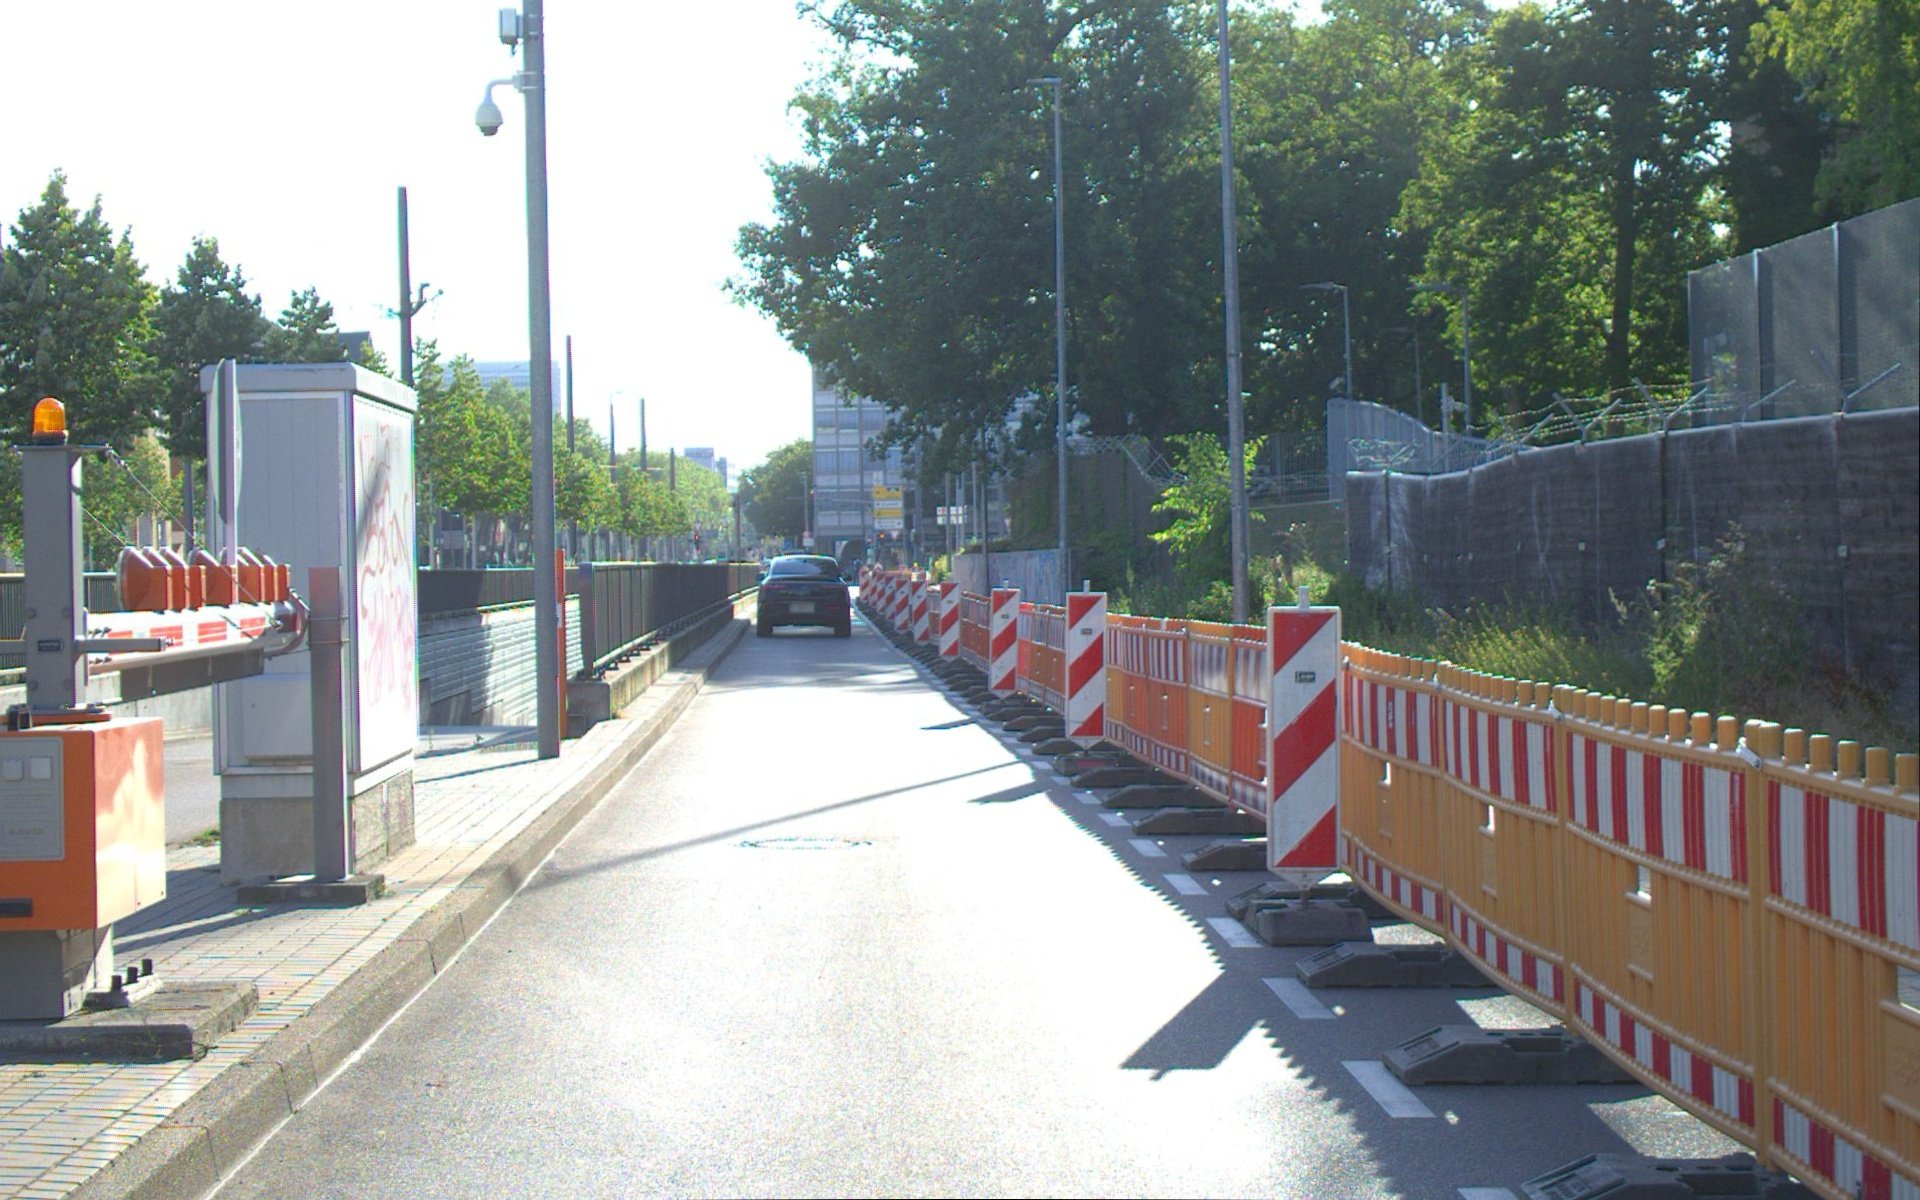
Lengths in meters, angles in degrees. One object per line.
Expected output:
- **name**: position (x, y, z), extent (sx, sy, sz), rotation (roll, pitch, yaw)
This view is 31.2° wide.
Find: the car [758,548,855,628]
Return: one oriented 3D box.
- **car**: position (-3.309, -0.257, 74.656), extent (2.005, 1.653, 4.000), rotation (1, 0, -2)
